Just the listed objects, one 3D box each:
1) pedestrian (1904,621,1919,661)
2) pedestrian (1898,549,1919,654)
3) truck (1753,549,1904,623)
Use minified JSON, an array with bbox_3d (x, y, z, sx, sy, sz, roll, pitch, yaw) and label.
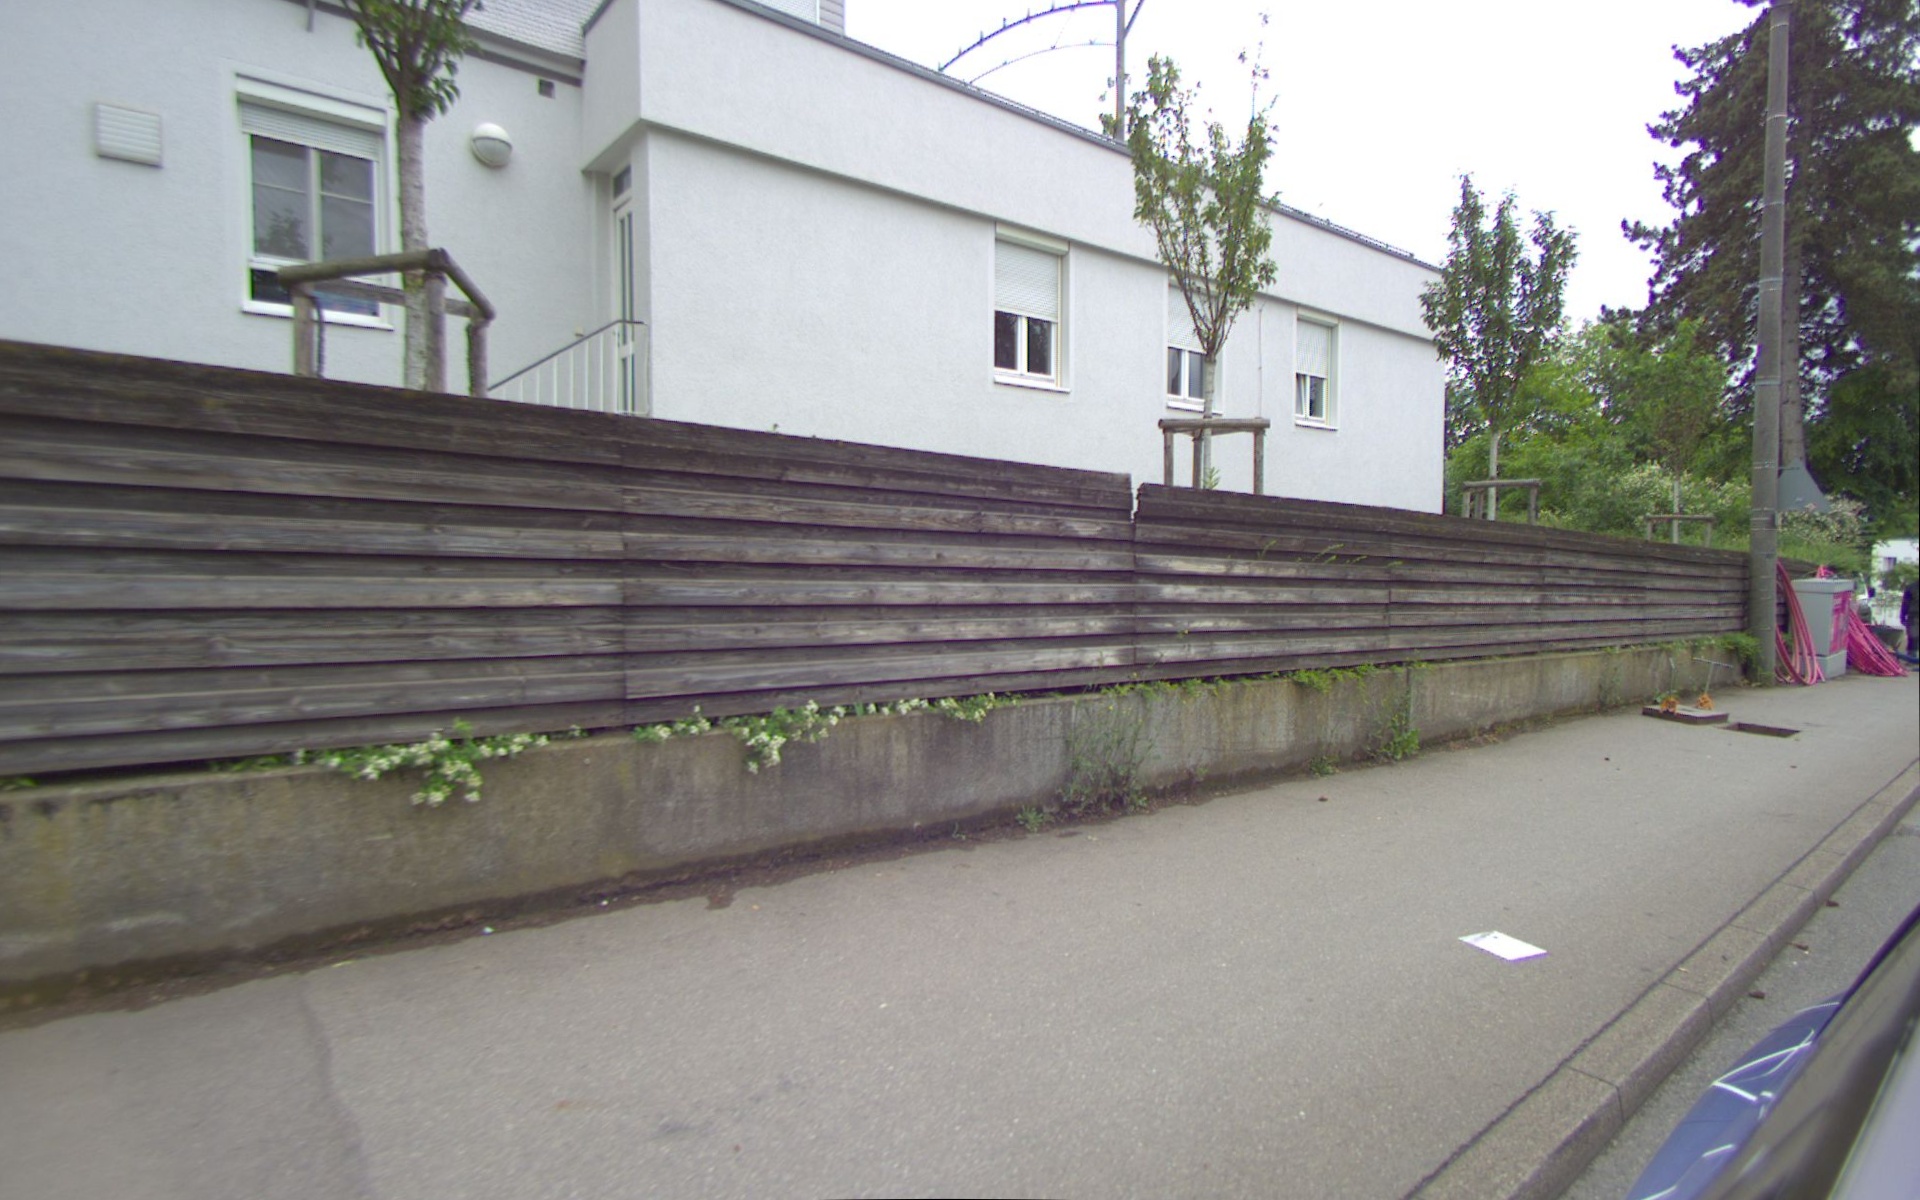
[{"bbox_3d":[17.518,0.750,18.127,0.636,0.705,0.584,1,1,8],"label":"pedestrian"},{"bbox_3d":[18.347,0.036,19.007,0.841,1.947,0.793,2,1,29],"label":"pedestrian"},{"bbox_3d":[31.188,-0.577,36.629,2.379,2.380,6.139,3,3,24],"label":"truck"}]
